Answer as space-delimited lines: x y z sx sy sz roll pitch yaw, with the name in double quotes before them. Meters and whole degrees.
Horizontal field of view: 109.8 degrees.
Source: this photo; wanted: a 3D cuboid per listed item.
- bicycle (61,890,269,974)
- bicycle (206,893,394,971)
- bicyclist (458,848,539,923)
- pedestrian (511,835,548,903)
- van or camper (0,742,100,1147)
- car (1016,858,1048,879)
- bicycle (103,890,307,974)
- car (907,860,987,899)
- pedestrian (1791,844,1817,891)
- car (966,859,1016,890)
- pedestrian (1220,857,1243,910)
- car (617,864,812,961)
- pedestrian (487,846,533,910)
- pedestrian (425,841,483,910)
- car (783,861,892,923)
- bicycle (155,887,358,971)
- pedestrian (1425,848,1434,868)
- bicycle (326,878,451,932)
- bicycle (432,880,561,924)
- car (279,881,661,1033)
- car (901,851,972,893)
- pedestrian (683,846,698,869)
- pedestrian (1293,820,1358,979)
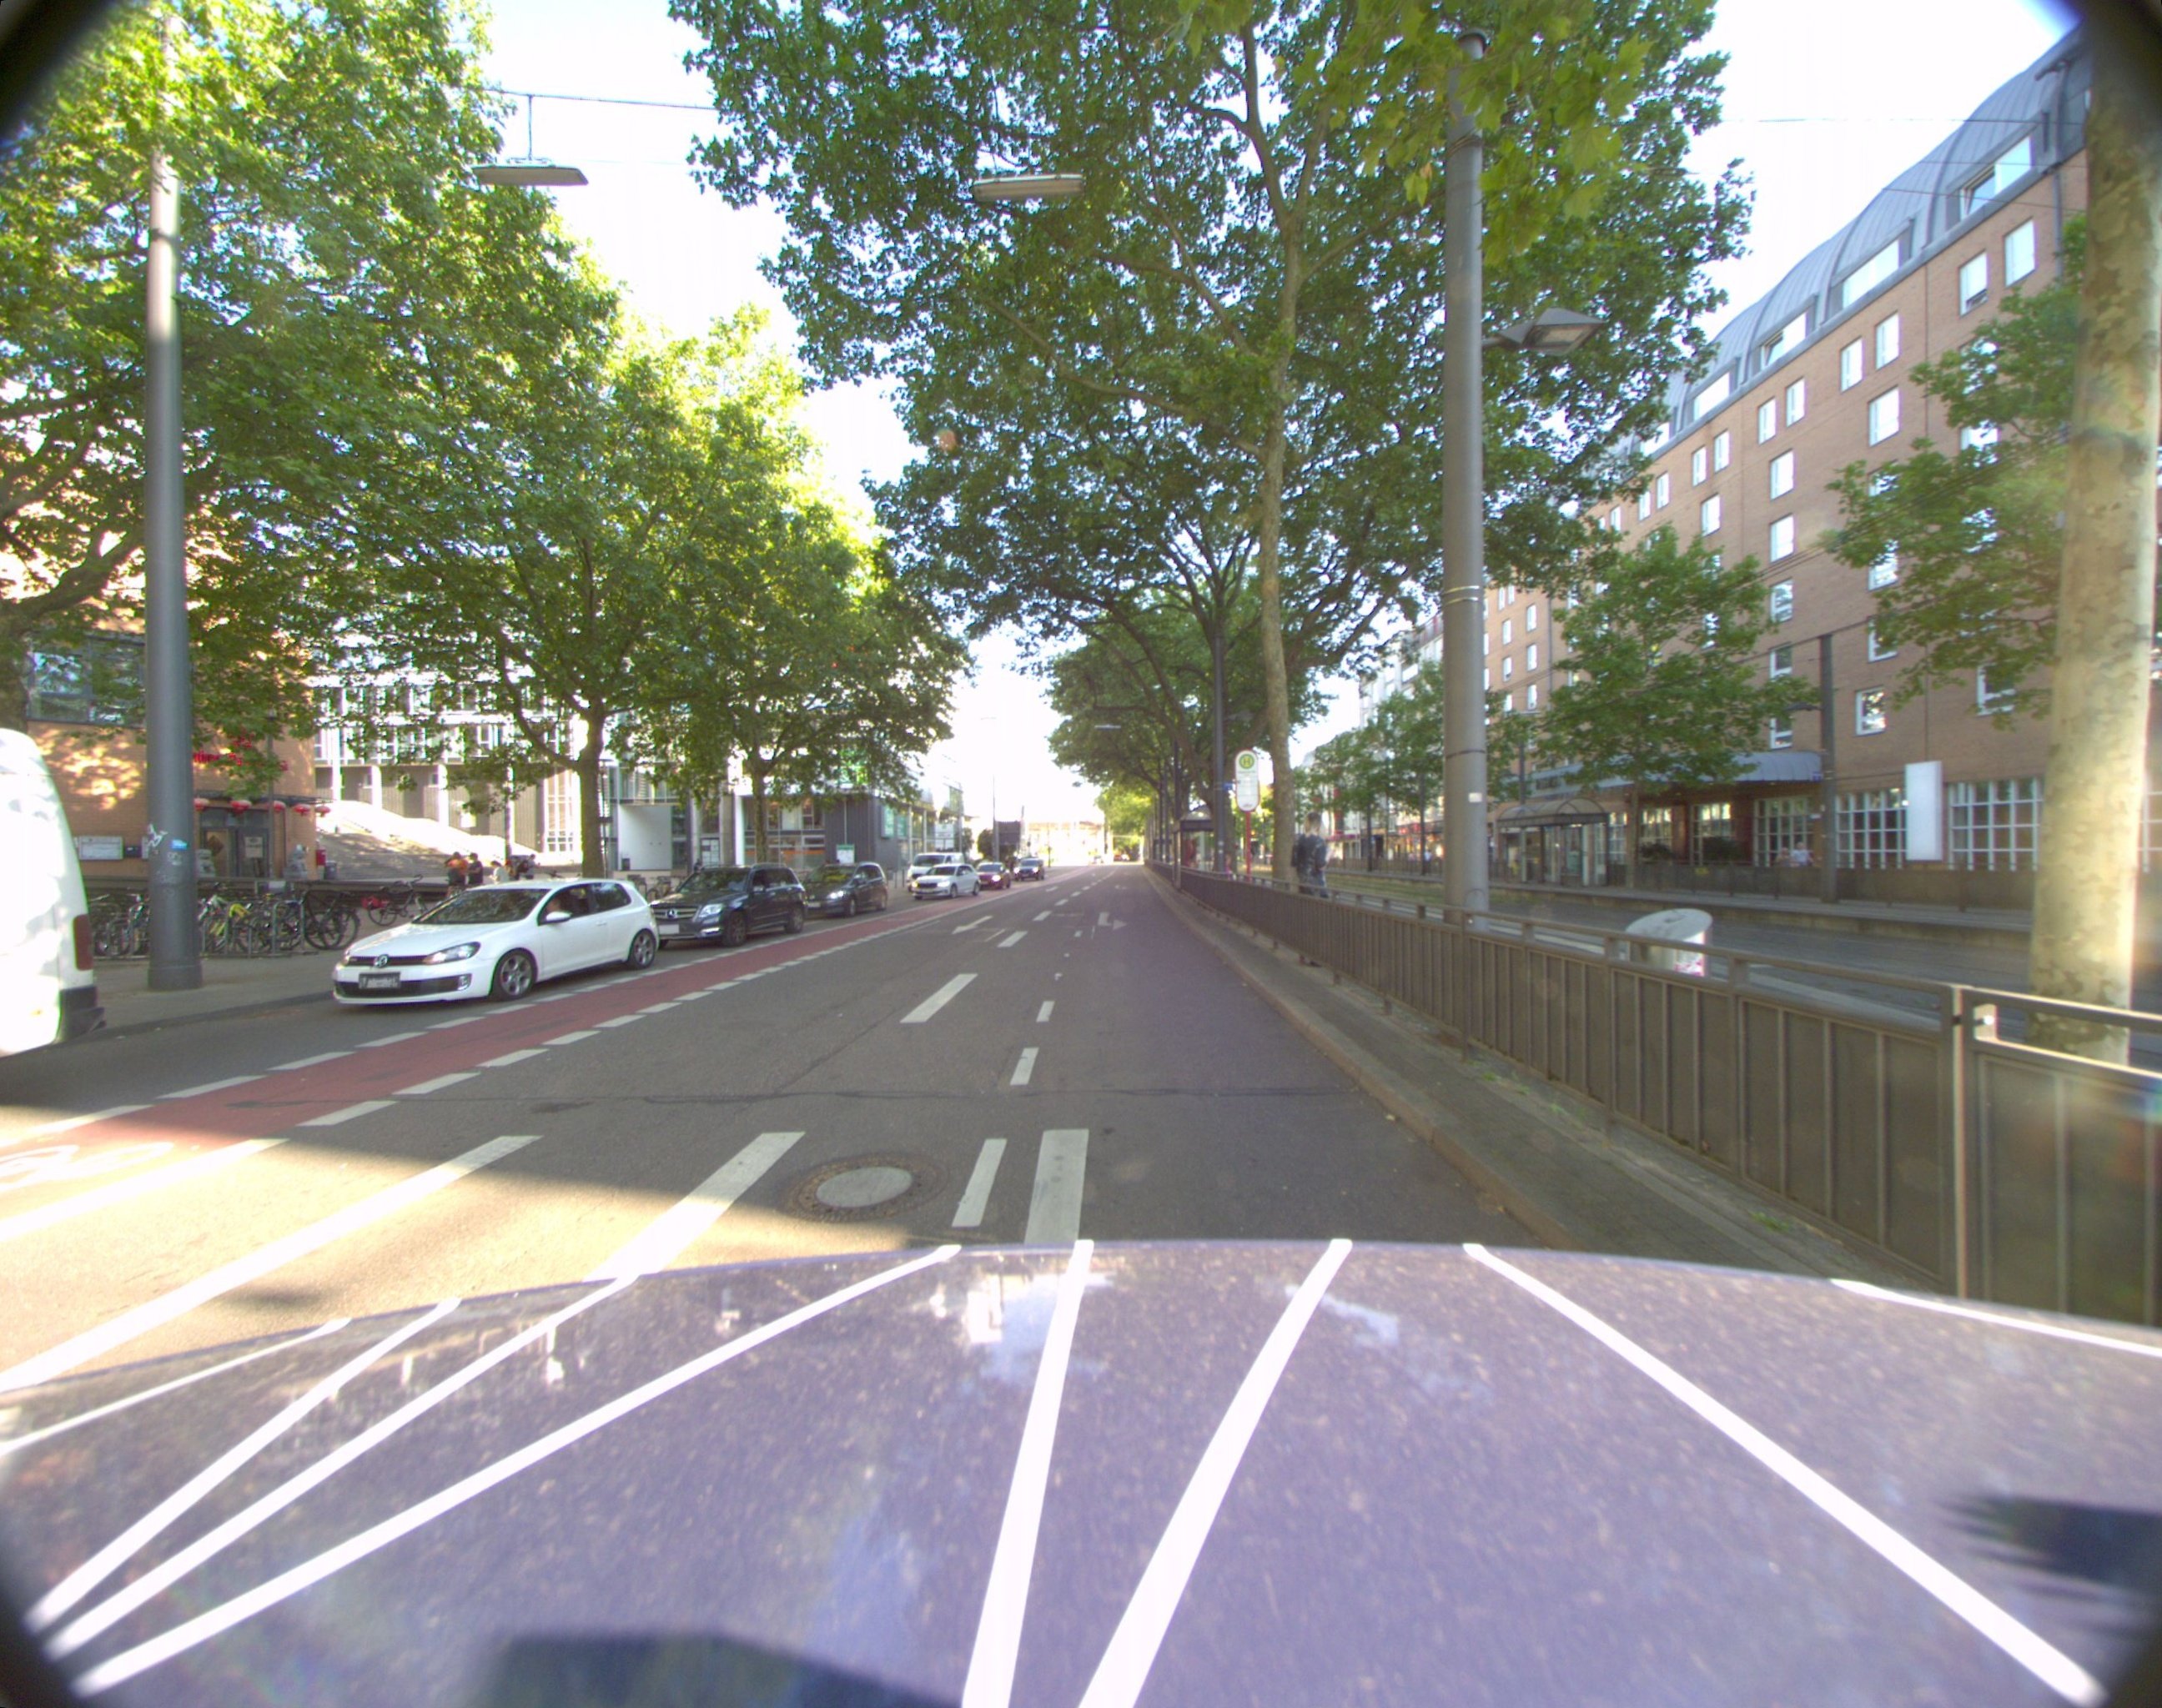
"bicycle" -15.559 1.271 13.035 0.657 1.155 2.293 -2 1 3
"bicycle" -13.116 1.264 12.896 0.682 1.054 2.337 -1 1 2
"bicyclist" -16.113 0.842 21.044 1.296 2.002 1.158 -1 1 17
"pedestrian" -21.879 0.595 30.160 0.981 2.633 0.900 -3 1 -31
"van or camper" -7.983 0.598 2.100 2.005 2.599 6.498 -1 0 1
"car" -3.702 1.092 58.243 1.784 1.481 4.197 -3 0 5
"bicycle" -14.847 1.266 13.010 0.671 1.155 2.305 -2 1 3
"car" -5.744 1.075 33.091 1.834 1.481 4.199 -2 0 14
"pedestrian" 26.410 0.492 27.749 0.443 1.725 0.545 0 1 8
"car" -4.778 1.054 40.870 1.835 1.481 4.196 -3 0 4
"pedestrian" 3.887 0.751 19.605 0.542 1.310 0.524 -2 1 12
"car" -7.365 1.085 15.830 1.768 1.626 4.251 -2 0 3
"pedestrian" -20.471 0.861 27.257 0.842 2.220 0.905 -2 1 22
"pedestrian" -21.230 0.718 25.744 1.048 2.235 1.221 -1 1 38
"car" -7.350 1.087 23.432 1.710 1.626 4.391 -2 0 3
"bicycle" -14.049 1.227 13.094 0.751 1.155 2.398 -2 1 2
"pedestrian" 30.945 0.329 67.453 0.504 1.725 0.574 -1 1 3
"bicycle" -17.848 1.276 19.710 0.699 1.193 2.700 -2 1 1
"bicycle" -16.221 1.302 21.091 3.328 1.077 1.150 0 1 18
"car" -7.589 1.173 10.044 1.639 1.420 3.987 -2 0 3
"car" -7.442 0.870 39.834 1.932 1.953 5.921 -2 0 7
"pedestrian" -34.697 0.316 67.577 0.797 2.002 0.875 -2 1 1
"pedestrian" 2.895 0.524 9.025 0.543 1.823 0.524 -2 1 2
